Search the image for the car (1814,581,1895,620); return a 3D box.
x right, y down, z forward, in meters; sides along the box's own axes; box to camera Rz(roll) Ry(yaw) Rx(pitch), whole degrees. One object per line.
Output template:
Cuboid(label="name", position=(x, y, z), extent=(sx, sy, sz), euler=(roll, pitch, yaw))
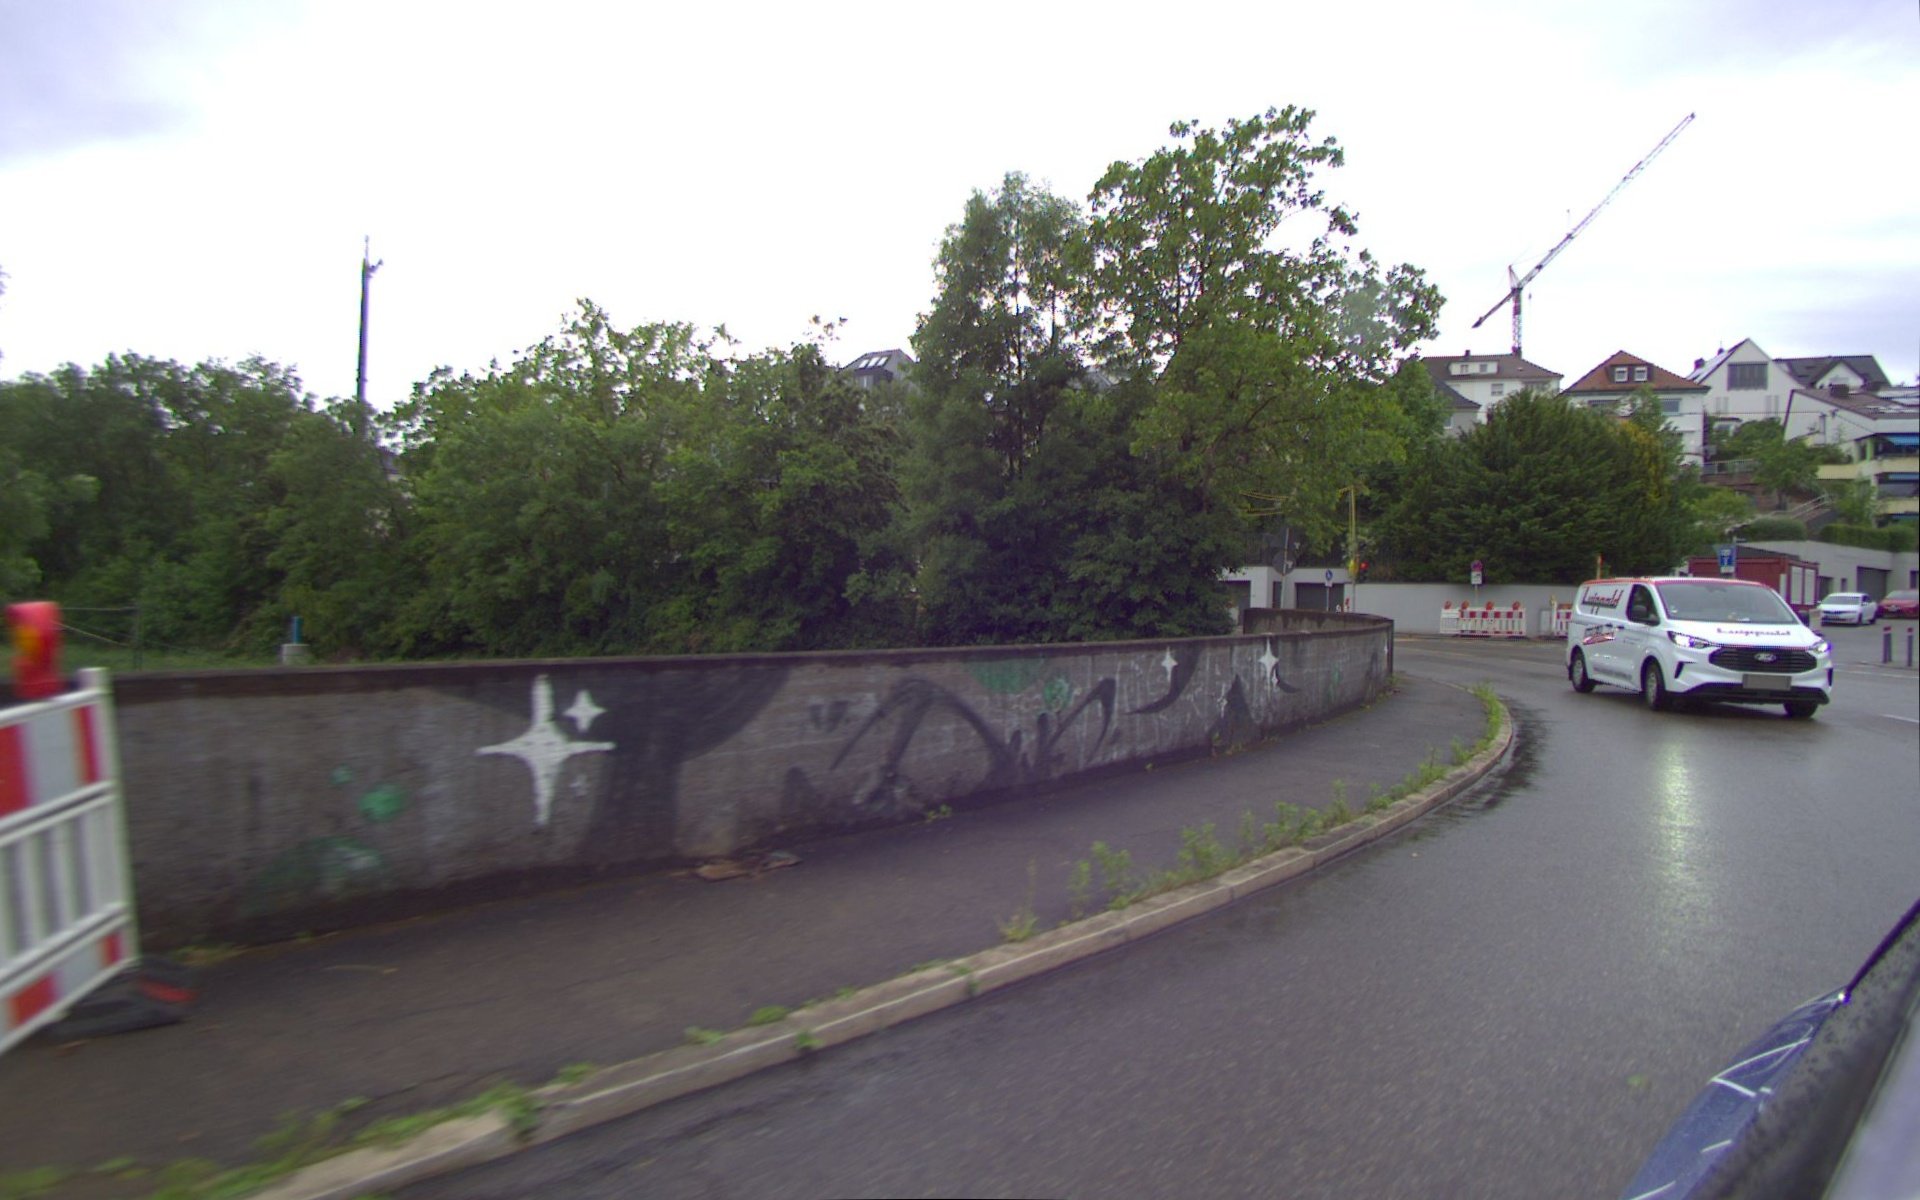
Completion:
Cuboid(label="car", position=(41.709, -0.015, 47.172), extent=(3.925, 1.682, 2.000), euler=(-1, 3, -36))

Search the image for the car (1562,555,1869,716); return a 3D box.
Cuboid(label="car", position=(11.262, 0.443, 15.629), extent=(1.971, 2.039, 4.927), euler=(2, 0, 14))

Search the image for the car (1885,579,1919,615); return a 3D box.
Cuboid(label="car", position=(48.630, -0.120, 51.055), extent=(3.921, 1.682, 1.876), euler=(3, 1, -33))
